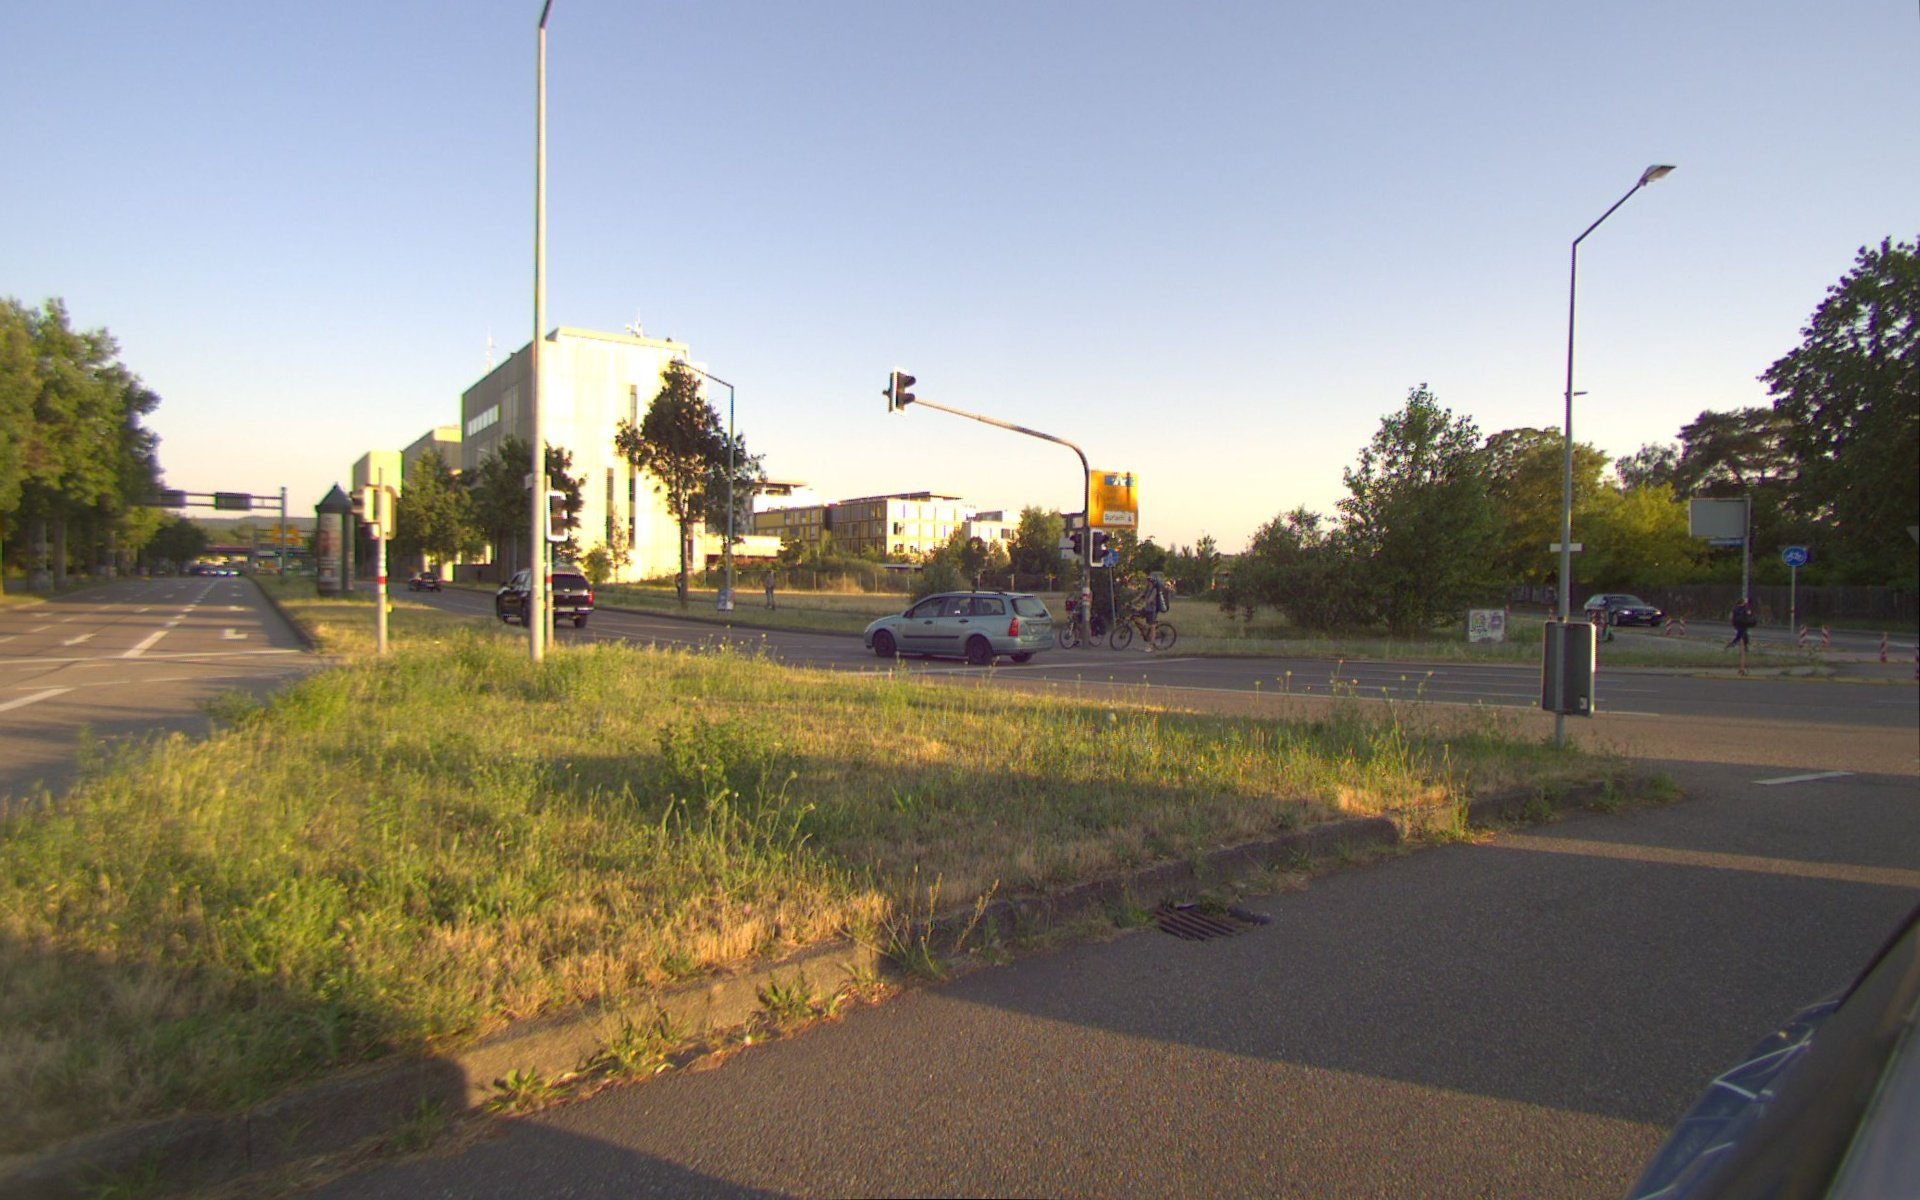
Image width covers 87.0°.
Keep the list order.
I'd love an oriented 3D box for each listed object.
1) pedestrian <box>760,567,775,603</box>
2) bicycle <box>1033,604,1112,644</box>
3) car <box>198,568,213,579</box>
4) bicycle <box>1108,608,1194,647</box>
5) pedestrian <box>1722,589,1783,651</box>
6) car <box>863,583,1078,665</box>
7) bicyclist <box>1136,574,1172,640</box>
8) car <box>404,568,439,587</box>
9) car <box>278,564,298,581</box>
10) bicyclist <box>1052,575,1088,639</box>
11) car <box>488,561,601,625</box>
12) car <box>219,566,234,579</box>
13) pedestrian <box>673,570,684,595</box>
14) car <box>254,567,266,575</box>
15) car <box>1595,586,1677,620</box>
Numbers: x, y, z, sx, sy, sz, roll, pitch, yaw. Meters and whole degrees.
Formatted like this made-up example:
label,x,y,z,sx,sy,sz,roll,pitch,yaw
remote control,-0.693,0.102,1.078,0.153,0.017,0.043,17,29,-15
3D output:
label,x,y,z,sx,sy,sz,roll,pitch,yaw
pedestrian,-9.207,-0.722,48.382,0.555,1.705,0.520,0,1,-34
bicycle,3.075,0.631,27.591,2.065,0.975,0.711,-2,2,-27
car,-131.433,-4.630,176.368,1.964,1.803,3.996,-1,1,-39
bicycle,4.994,0.702,26.472,2.100,0.975,0.711,0,1,-14
pedestrian,21.433,0.518,27.387,0.977,1.610,0.923,1,1,13
car,0.169,0.429,21.545,4.288,1.510,1.973,2,1,38
bicyclist,5.066,0.180,26.492,0.674,1.711,0.727,1,1,-13
car,-39.856,-1.665,74.896,1.719,1.396,4.124,0,1,-37
car,-84.013,-3.399,126.547,1.961,2.039,4.002,0,1,-33
bicyclist,2.988,0.180,27.573,0.675,1.711,0.726,0,1,-29
car,-13.355,-0.266,32.337,1.963,1.835,5.303,3,0,-38
car,-122.334,-4.611,168.850,1.963,2.039,3.999,-1,0,-36
pedestrian,-17.174,-1.071,61.722,0.492,1.531,0.530,0,1,-34
car,-149.890,-6.281,216.652,1.963,1.648,3.998,0,1,-38
car,32.100,0.105,48.170,1.971,1.504,3.983,1,1,14
